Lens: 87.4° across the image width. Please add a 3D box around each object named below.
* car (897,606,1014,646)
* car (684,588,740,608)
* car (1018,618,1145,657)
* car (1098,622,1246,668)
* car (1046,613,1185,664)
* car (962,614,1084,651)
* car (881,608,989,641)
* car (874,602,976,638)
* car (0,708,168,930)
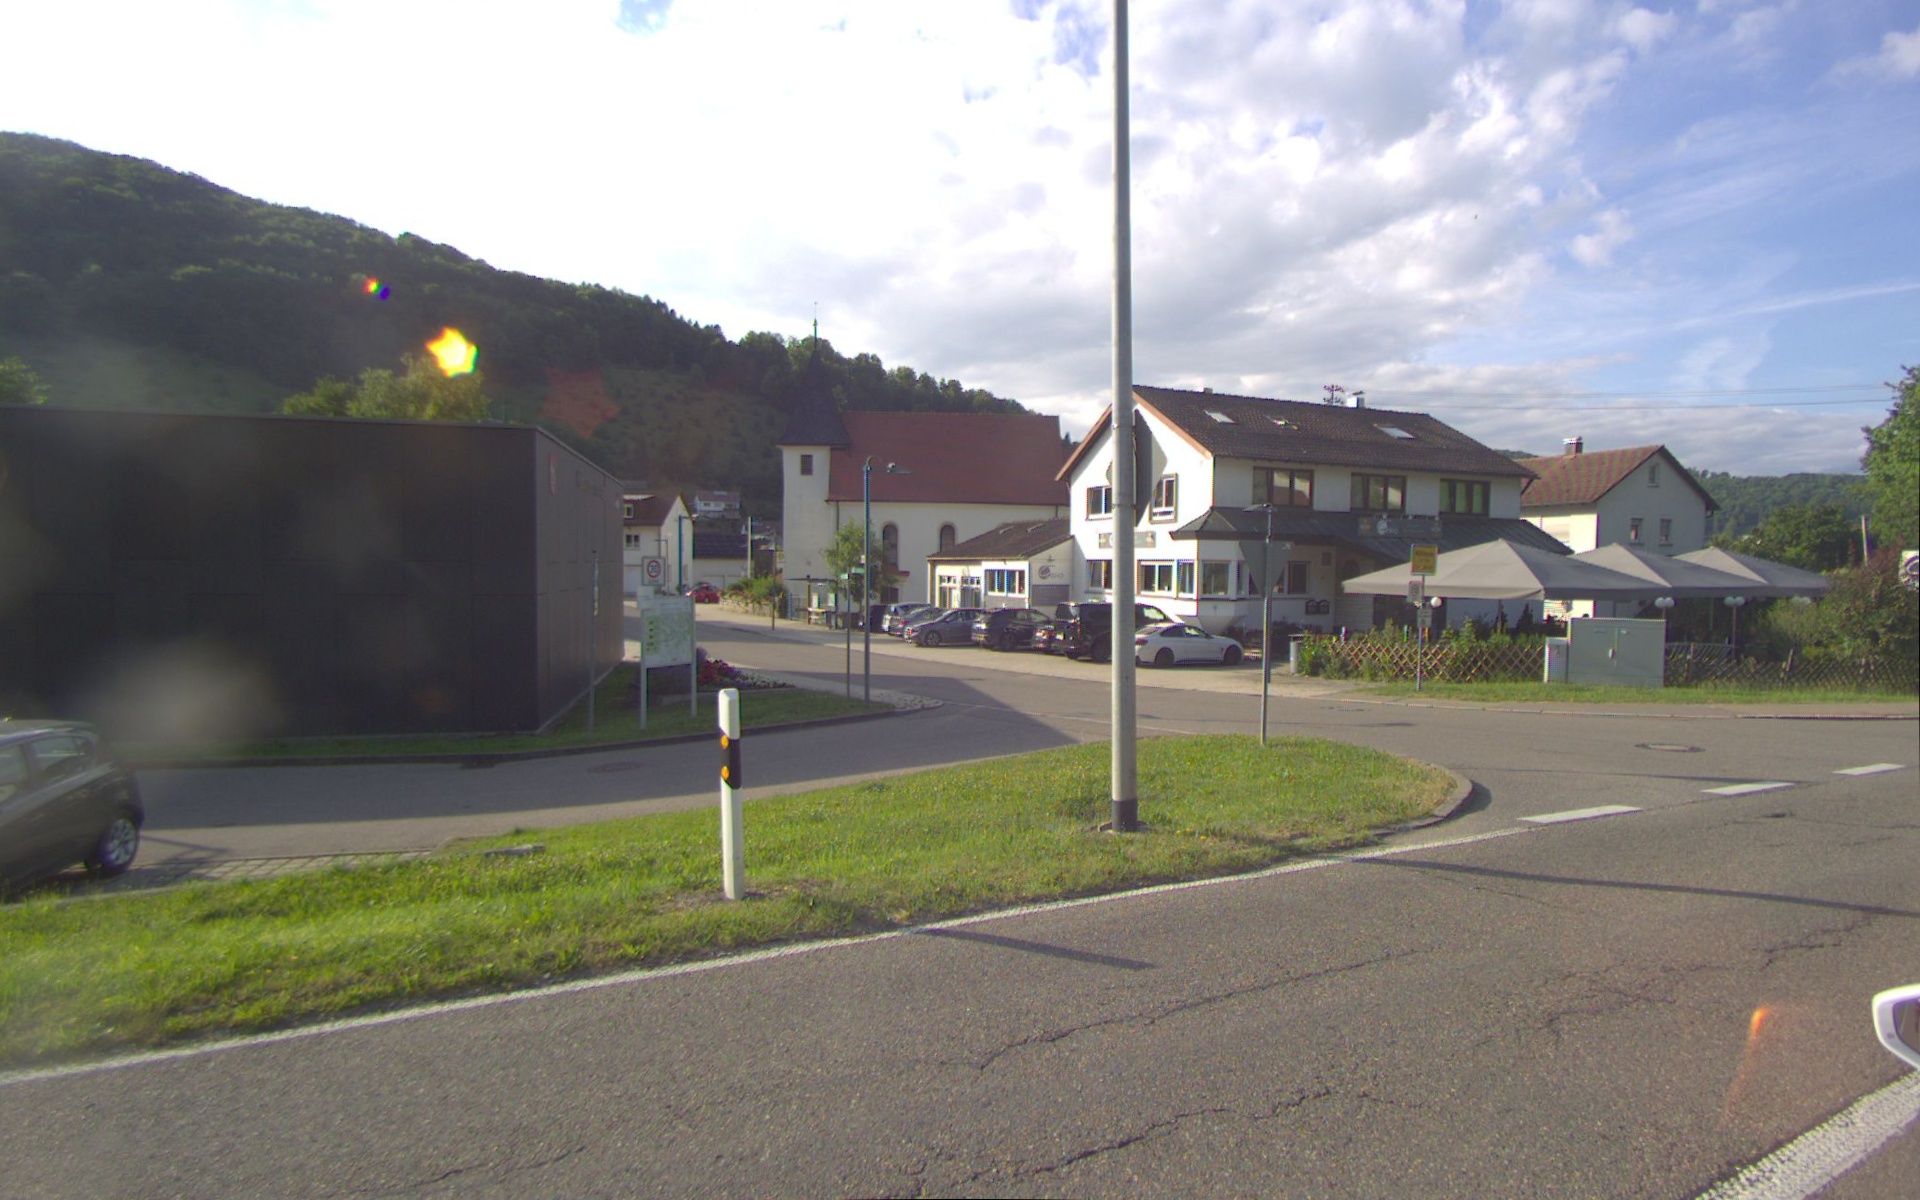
[{"bbox_3d":[-0.181,1.103,42.297,4.518,1.618,1.986,1,-1,-27],"label":"car"},{"bbox_3d":[-19.864,-0.173,80.509,3.956,1.528,1.982,0,0,-33],"label":"car"},{"bbox_3d":[4.631,1.419,38.213,4.518,1.408,1.986,1,-1,-27],"label":"car"},{"bbox_3d":[6.944,1.437,32.874,4.518,1.408,1.986,1,-1,-27],"label":"car"},{"bbox_3d":[5.457,1.319,35.106,4.518,1.707,1.986,1,-1,-27],"label":"car"},{"bbox_3d":[2.535,1.287,40.153,4.518,1.431,1.986,1,-1,-27],"label":"car"},{"bbox_3d":[-1.120,1.099,45.460,4.518,1.431,1.986,1,-1,-27],"label":"car"},{"bbox_3d":[-1.662,0.983,48.058,4.518,1.665,1.986,1,-1,-27],"label":"car"},{"bbox_3d":[-8.526,1.825,8.032,1.801,1.555,3.992,1,-1,-12],"label":"car"}]
